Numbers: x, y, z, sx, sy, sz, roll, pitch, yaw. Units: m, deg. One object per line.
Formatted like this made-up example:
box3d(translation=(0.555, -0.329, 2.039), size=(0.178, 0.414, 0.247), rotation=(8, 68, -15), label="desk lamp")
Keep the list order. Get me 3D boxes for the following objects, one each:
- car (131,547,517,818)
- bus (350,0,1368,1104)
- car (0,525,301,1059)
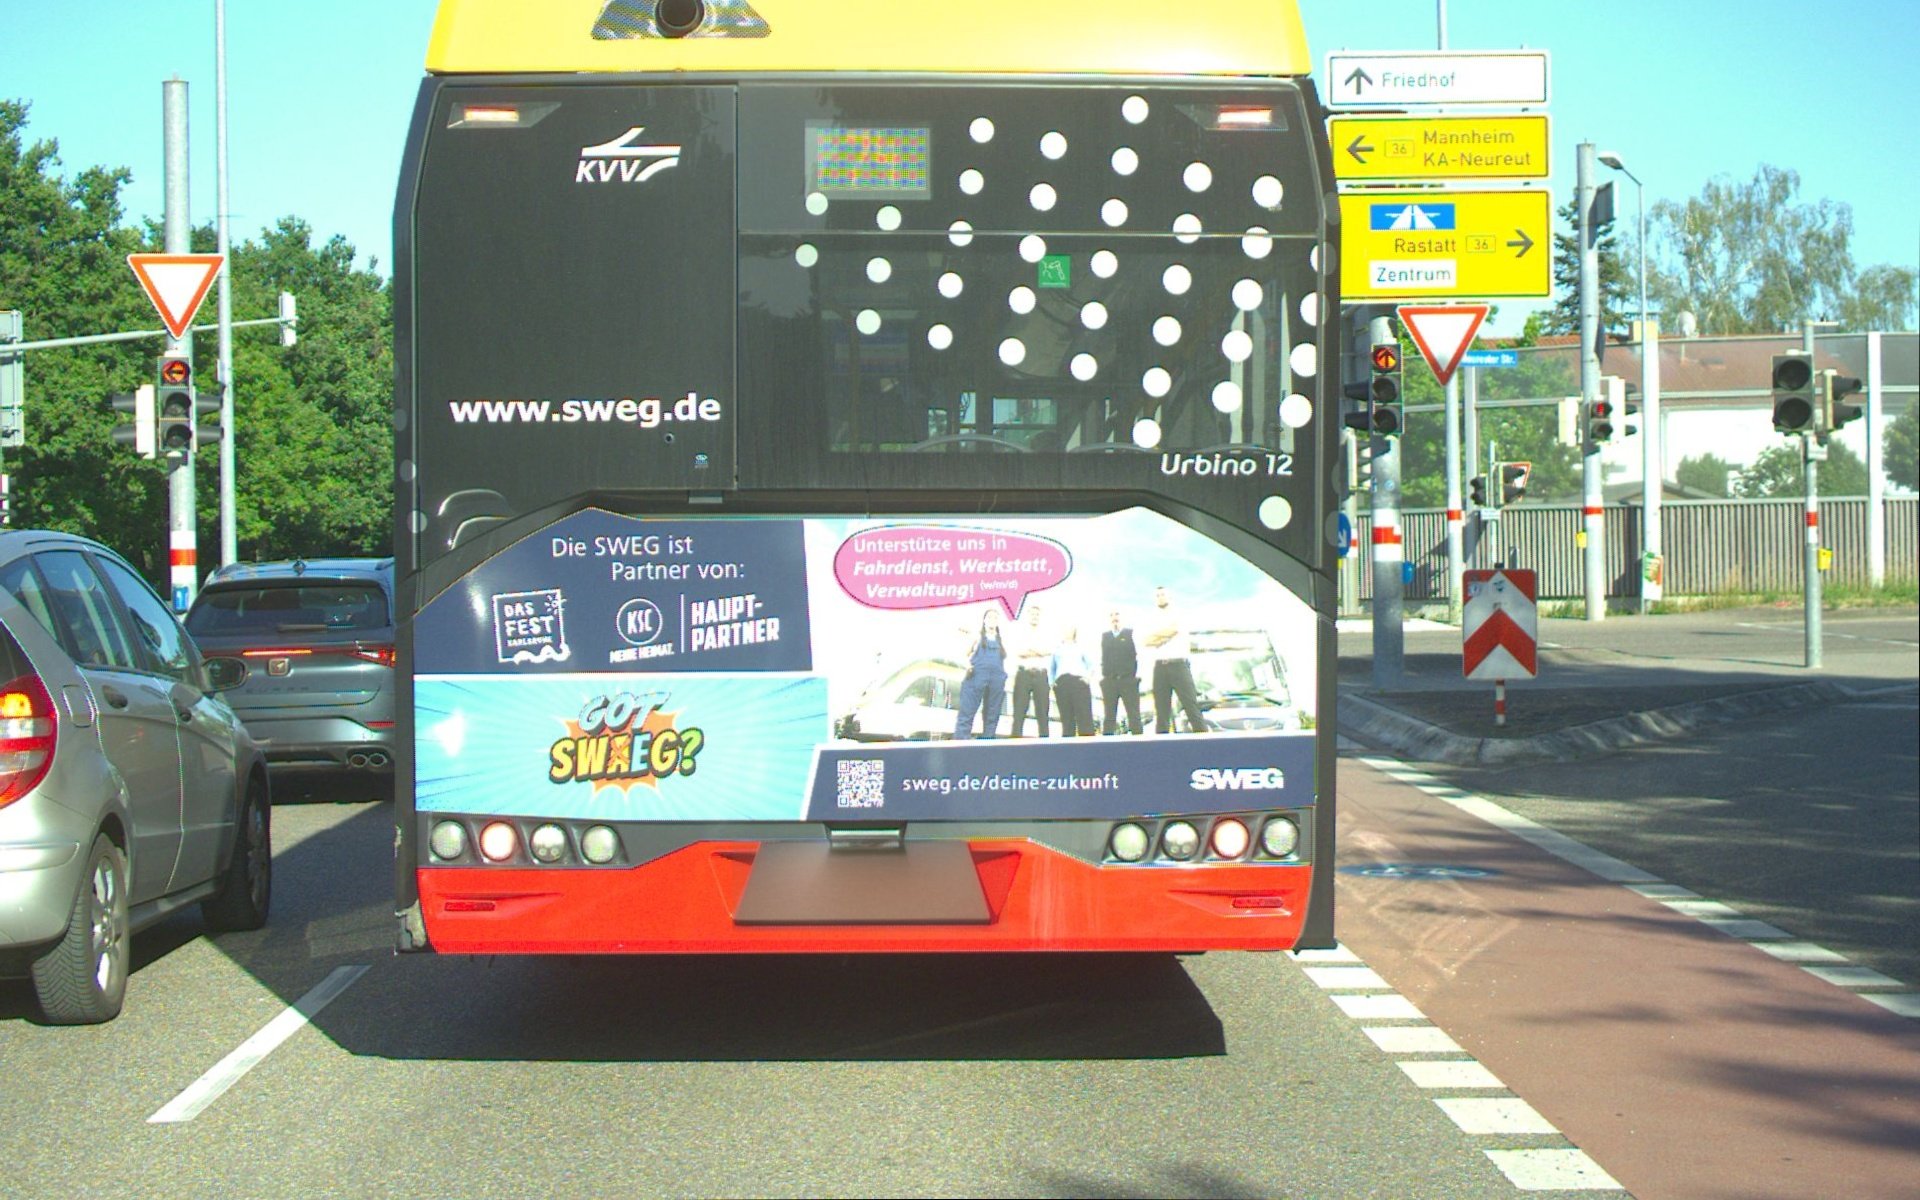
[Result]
box3d(translation=(-3.803, 0.432, 21.127), size=(1.692, 1.453, 3.751), rotation=(-2, 1, -1), label="car")
box3d(translation=(-0.283, -0.401, 14.894), size=(2.642, 3.156, 11.861), rotation=(0, 1, 0), label="bus")
box3d(translation=(-3.595, 0.562, 12.196), size=(1.761, 1.584, 4.000), rotation=(-2, 1, -1), label="car")
